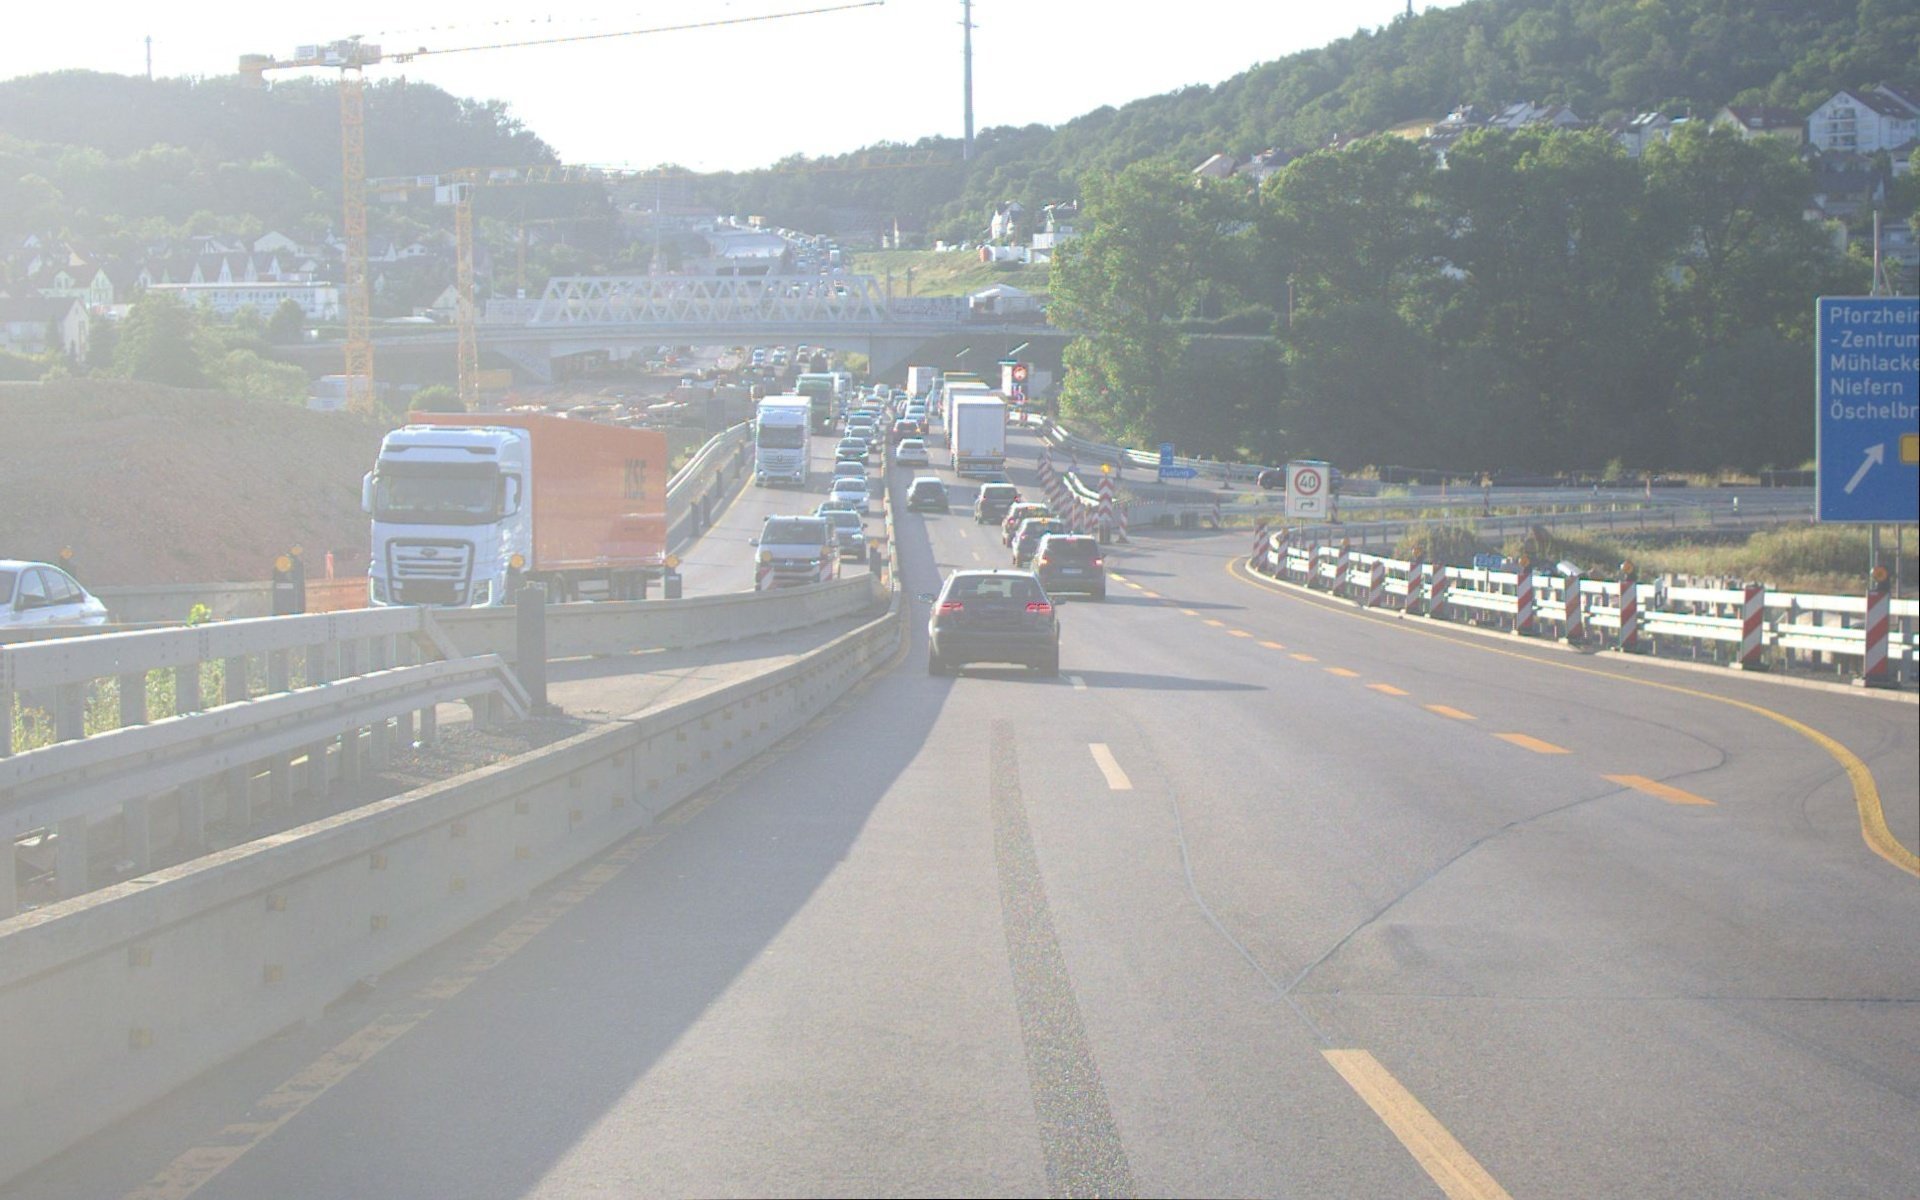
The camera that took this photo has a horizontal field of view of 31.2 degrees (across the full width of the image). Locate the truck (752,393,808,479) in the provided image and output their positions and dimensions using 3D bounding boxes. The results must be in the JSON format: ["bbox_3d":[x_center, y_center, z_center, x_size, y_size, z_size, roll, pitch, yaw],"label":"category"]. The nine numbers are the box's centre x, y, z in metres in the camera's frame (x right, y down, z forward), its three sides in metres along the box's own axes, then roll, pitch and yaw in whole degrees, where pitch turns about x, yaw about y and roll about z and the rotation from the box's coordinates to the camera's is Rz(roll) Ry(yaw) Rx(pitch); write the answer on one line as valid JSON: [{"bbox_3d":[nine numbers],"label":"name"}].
[{"bbox_3d":[-9.114,-8.293,174.674,2.552,4.206,6.051,2,2,-1],"label":"truck"}]

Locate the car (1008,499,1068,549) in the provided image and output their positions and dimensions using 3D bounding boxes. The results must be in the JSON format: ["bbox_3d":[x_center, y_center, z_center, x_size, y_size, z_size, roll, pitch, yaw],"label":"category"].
[{"bbox_3d":[2.842,-2.793,125.788,1.875,1.593,4.967,0,4,-2],"label":"car"}]

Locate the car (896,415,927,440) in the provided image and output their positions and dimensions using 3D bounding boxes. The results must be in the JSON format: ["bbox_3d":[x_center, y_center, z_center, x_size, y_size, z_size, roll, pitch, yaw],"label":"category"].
[{"bbox_3d":[-3.120,-11.122,221.947,1.923,1.546,4.001,1,2,-1],"label":"car"}]

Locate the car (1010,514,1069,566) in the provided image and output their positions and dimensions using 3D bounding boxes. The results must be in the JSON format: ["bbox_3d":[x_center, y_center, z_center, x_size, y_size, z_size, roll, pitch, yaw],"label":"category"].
[{"bbox_3d":[2.524,-1.910,110.029,1.774,1.580,4.135,1,1,0],"label":"car"}]

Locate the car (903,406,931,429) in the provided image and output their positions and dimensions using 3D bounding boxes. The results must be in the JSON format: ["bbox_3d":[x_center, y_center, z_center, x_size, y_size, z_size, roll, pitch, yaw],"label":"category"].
[{"bbox_3d":[-2.990,-12.796,240.855,1.923,1.546,4.001,1,2,-1],"label":"car"}]

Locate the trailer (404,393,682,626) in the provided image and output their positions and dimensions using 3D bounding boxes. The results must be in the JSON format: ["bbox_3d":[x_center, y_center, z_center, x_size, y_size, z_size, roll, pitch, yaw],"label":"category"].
[{"bbox_3d":[-8.677,-1.862,73.850,2.584,4.456,14.133,2,1,7],"label":"trailer"}]

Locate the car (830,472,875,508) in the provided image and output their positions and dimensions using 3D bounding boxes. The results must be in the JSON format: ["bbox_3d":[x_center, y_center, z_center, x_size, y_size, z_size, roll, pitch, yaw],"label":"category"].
[{"bbox_3d":[-4.731,-4.828,151.375,1.788,1.483,4.220,2,2,0],"label":"car"}]

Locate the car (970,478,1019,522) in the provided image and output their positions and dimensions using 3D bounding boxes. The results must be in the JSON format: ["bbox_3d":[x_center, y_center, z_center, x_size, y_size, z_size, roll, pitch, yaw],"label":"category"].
[{"bbox_3d":[1.429,-4.217,144.304,1.814,1.626,4.412,1,4,-2],"label":"car"}]

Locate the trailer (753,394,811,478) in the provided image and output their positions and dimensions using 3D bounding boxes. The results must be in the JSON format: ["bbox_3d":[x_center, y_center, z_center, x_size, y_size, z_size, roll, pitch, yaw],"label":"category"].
[{"bbox_3d":[-9.282,-8.582,180.788,2.531,4.198,13.936,2,2,-1],"label":"trailer"}]

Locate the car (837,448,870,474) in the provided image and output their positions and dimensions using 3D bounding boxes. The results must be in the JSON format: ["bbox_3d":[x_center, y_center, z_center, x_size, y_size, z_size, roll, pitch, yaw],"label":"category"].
[{"bbox_3d":[-6.060,-7.962,196.214,1.836,1.404,4.496,0,3,-1],"label":"car"}]

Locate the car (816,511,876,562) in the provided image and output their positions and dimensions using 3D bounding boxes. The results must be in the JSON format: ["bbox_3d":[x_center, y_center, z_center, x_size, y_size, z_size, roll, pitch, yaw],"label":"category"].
[{"bbox_3d":[-3.762,-2.117,113.843,1.788,1.614,4.874,2,2,0],"label":"car"}]

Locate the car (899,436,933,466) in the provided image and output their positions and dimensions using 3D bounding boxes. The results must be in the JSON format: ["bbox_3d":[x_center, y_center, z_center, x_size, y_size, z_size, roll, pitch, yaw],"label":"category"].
[{"bbox_3d":[-2.492,-8.486,195.471,1.923,1.546,4.001,1,4,-1],"label":"car"}]

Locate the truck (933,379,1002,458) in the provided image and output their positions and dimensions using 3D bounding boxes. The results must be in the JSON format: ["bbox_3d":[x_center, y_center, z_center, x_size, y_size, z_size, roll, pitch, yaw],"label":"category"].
[{"bbox_3d":[0.410,-11.634,218.614,3.890,4.482,15.272,1,5,-1],"label":"truck"}]

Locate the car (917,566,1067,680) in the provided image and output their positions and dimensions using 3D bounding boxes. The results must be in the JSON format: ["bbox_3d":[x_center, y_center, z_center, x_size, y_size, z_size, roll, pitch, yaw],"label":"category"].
[{"bbox_3d":[0.386,0.285,46.640,1.770,1.385,4.001,1,1,-3],"label":"car"}]

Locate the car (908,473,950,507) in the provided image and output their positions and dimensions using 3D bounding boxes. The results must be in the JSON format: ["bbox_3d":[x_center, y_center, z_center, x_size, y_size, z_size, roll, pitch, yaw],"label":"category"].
[{"bbox_3d":[-1.385,-4.923,153.515,1.863,1.415,4.001,1,3,-1],"label":"car"}]

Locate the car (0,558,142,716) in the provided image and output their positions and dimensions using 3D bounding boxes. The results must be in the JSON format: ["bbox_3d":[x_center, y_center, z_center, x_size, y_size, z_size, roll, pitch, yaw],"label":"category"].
[{"bbox_3d":[-10.411,0.356,36.543,1.730,1.595,4.659,1,1,8],"label":"car"}]

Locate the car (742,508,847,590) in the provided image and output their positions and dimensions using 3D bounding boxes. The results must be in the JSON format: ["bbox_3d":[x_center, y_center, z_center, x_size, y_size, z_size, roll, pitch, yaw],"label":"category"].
[{"bbox_3d":[-4.210,-1.318,88.222,1.994,2.007,5.256,2,1,4],"label":"car"}]

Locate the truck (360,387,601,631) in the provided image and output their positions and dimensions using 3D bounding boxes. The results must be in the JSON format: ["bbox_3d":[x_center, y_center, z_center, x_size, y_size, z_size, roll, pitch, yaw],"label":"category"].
[{"bbox_3d":[-9.353,-1.761,68.112,2.584,4.456,8.330,2,1,7],"label":"truck"}]

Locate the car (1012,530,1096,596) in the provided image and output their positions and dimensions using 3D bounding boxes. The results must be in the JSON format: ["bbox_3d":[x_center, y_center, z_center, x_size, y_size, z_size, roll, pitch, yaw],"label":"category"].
[{"bbox_3d":[2.365,-0.943,87.167,1.812,1.610,4.526,1,1,-2],"label":"car"}]

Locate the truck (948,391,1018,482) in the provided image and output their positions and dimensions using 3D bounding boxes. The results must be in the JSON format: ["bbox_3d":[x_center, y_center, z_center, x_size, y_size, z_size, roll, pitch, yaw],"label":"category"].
[{"bbox_3d":[1.192,-9.032,187.797,3.385,4.482,15.271,1,4,-1],"label":"truck"}]
